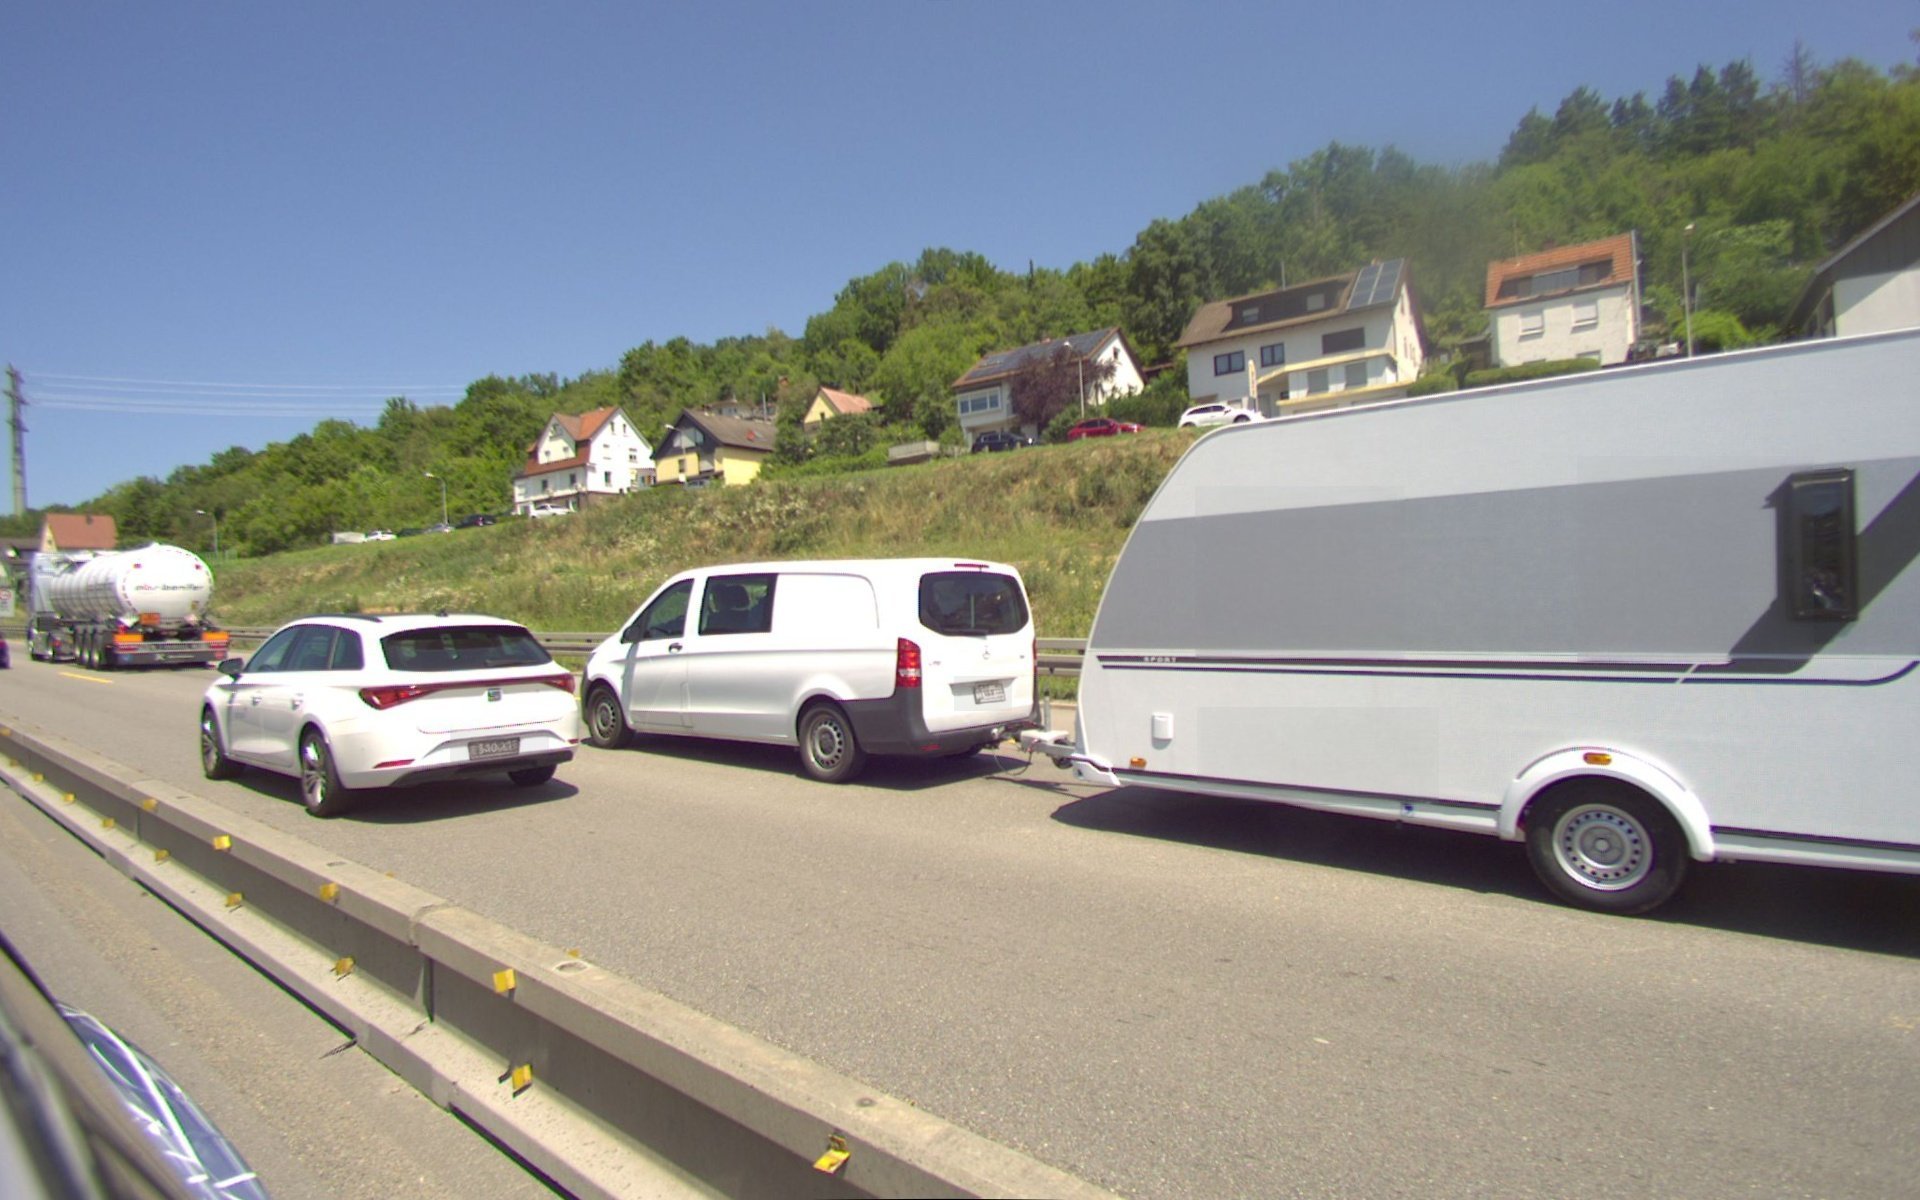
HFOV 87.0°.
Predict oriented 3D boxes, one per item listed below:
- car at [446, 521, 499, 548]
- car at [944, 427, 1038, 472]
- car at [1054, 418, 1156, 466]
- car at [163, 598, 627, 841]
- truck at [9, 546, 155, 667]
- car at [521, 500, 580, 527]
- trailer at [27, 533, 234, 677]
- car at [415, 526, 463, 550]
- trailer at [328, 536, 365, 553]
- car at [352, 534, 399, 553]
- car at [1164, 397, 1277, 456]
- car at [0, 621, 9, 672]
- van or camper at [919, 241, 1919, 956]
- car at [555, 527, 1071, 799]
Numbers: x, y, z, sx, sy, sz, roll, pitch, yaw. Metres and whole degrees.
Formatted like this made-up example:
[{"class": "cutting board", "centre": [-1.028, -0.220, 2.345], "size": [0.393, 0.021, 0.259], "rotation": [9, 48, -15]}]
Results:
[{"class": "car", "centre": [-42.546, -5.674, 88.227], "size": [4.962, 2.023, 2.053], "rotation": [0, 1, 36]}, {"class": "car", "centre": [1.696, -8.185, 55.325], "size": [4.751, 1.807, 2.160], "rotation": [0, 1, 34]}, {"class": "car", "centre": [7.515, -8.179, 52.686], "size": [4.794, 1.807, 2.326], "rotation": [0, 1, 37]}, {"class": "car", "centre": [-4.918, 0.778, 8.492], "size": [4.633, 1.491, 1.893], "rotation": [-1, -1, 40]}, {"class": "truck", "centre": [-29.529, 0.245, 33.967], "size": [6.272, 3.700, 2.751], "rotation": [-1, 0, 40]}, {"class": "car", "centre": [-32.951, -6.905, 81.406], "size": [4.999, 1.807, 1.977], "rotation": [0, 1, 34]}, {"class": "trailer", "centre": [-25.103, 0.207, 30.270], "size": [11.785, 3.621, 2.689], "rotation": [-1, 0, 40]}, {"class": "car", "centre": [-46.865, -5.553, 90.989], "size": [4.420, 1.886, 1.976], "rotation": [0, 1, 35]}, {"class": "trailer", "centre": [-60.217, -5.393, 99.383], "size": [3.025, 1.527, 1.889], "rotation": [0, 1, 30]}, {"class": "car", "centre": [-55.779, -5.384, 96.613], "size": [4.537, 1.668, 1.979], "rotation": [0, 1, 31]}, {"class": "car", "centre": [12.552, -8.324, 48.917], "size": [4.811, 2.056, 2.326], "rotation": [0, 1, 38]}, {"class": "car", "centre": [-29.022, 1.337, 29.210], "size": [4.677, 1.425, 1.875], "rotation": [-1, -1, 41]}, {"class": "van or camper", "centre": [3.453, 0.012, 5.507], "size": [7.852, 2.696, 2.333], "rotation": [-1, -1, 41]}, {"class": "car", "centre": [-1.697, 0.513, 9.885], "size": [5.339, 1.986, 1.973], "rotation": [-2, -1, 41]}]
